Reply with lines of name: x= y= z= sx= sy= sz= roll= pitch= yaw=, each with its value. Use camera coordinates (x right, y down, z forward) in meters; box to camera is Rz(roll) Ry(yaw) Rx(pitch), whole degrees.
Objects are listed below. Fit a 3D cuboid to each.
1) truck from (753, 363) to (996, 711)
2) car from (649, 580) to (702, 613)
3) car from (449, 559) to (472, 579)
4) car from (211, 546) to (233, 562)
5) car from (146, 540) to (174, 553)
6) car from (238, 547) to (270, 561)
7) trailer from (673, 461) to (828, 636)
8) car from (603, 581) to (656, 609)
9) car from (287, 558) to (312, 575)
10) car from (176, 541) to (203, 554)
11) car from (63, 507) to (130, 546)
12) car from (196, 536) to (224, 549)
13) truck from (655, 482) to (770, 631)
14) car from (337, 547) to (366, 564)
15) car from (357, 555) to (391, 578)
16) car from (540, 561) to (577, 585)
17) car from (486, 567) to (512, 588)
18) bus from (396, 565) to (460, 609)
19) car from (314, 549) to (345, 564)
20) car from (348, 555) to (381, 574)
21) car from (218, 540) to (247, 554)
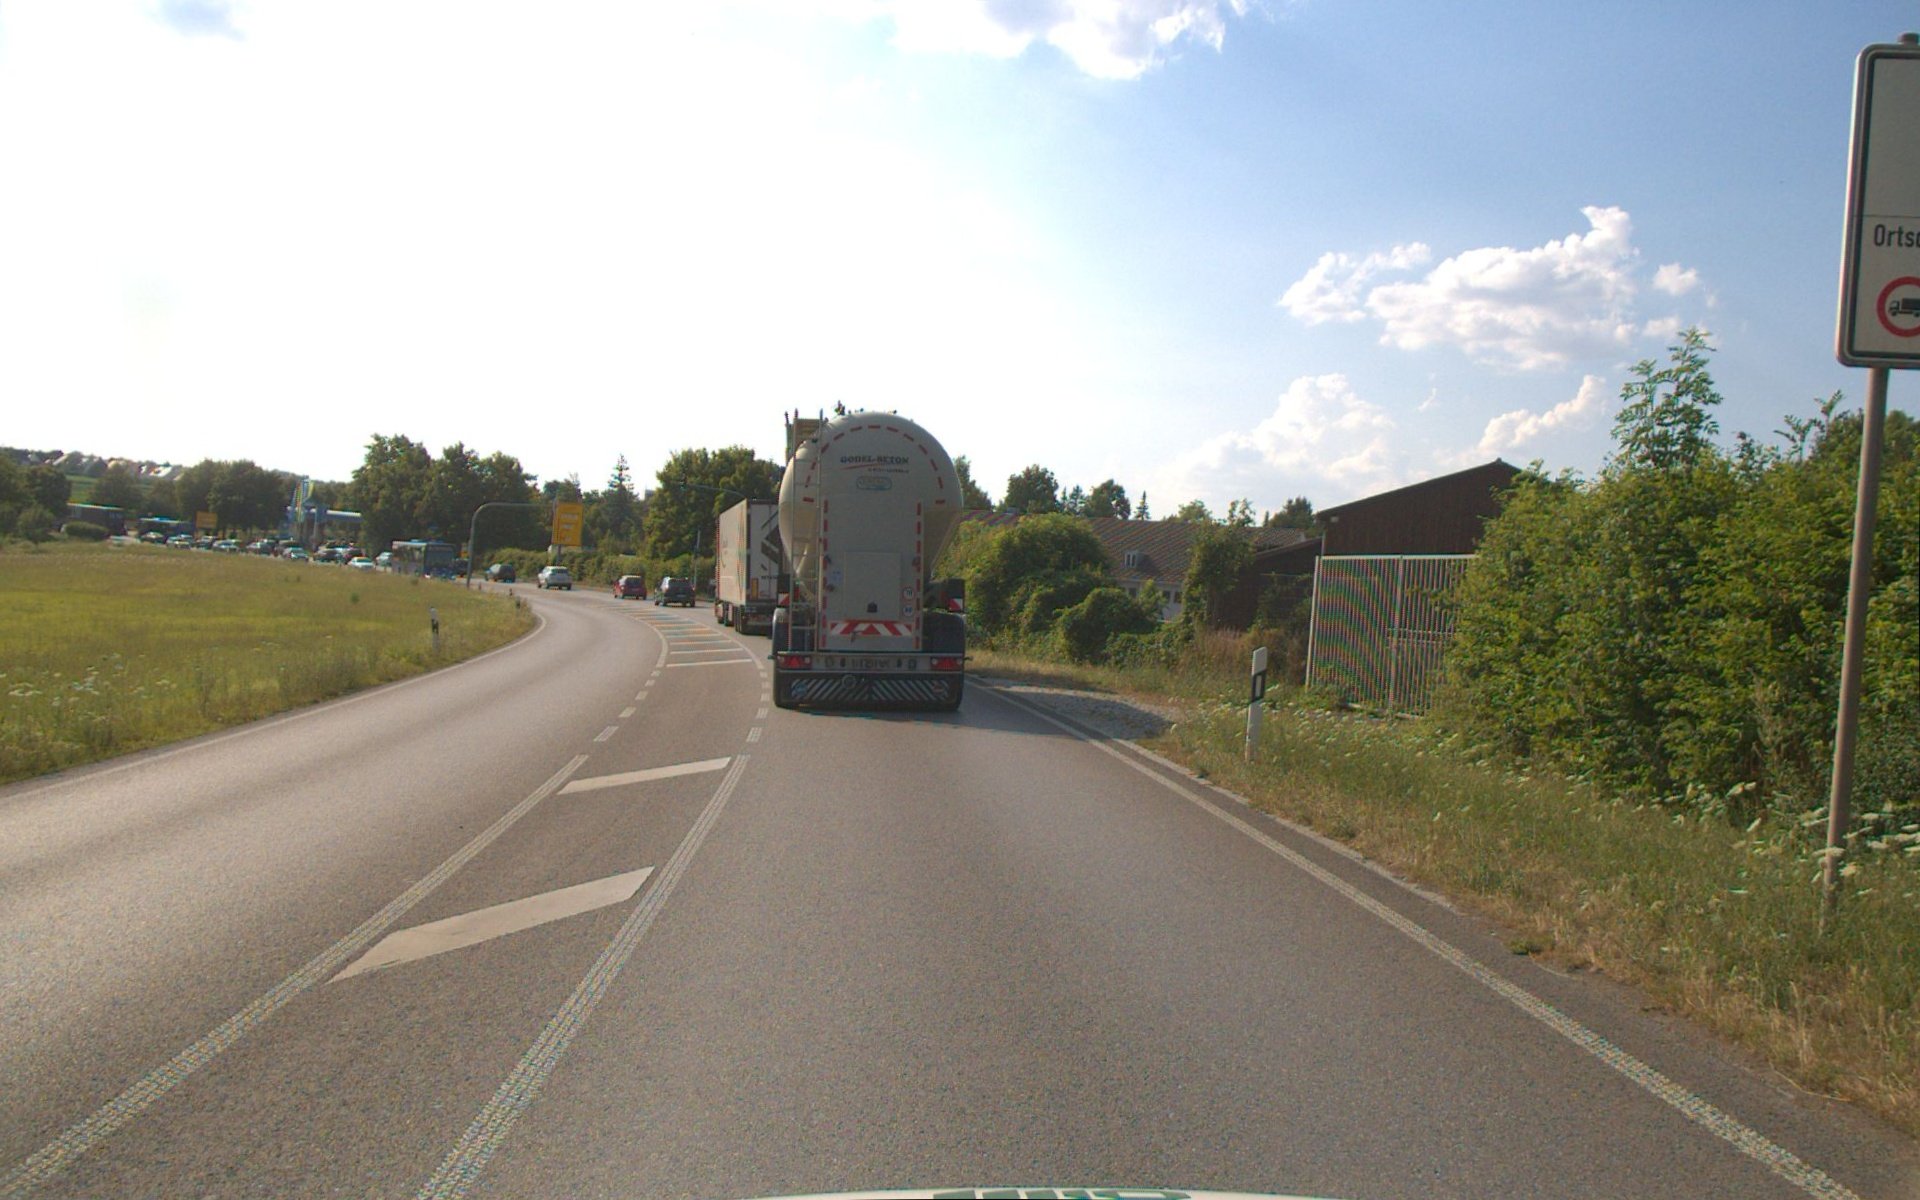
truck: x=-1.663 y=-0.742 z=26.434 sx=2.918 sy=4.248 sz=11.646 roll=2 pitch=-1 yaw=-6
car: x=-15.500 y=-0.170 z=89.944 sx=1.966 sy=1.685 sz=3.972 roll=2 pitch=-1 yaw=-23
car: x=-45.863 y=-2.842 z=151.921 sx=1.499 sy=1.685 sz=3.843 roll=2 pitch=-1 yaw=-24
car: x=-84.611 y=-5.267 z=189.595 sx=1.823 sy=1.685 sz=3.957 roll=2 pitch=-1 yaw=-31
car: x=-106.308 y=-7.127 z=219.880 sx=3.926 sy=1.627 sz=1.878 roll=3 pitch=1 yaw=40
car: x=-85.687 y=-5.601 z=200.818 sx=3.929 sy=1.627 sz=2.079 roll=3 pitch=1 yaw=42
trailer: x=-6.901 y=-1.464 z=52.886 sx=2.918 sy=4.967 sz=10.235 roll=2 pitch=-1 yaw=-18
car: x=-21.158 y=-0.296 z=105.852 sx=2.271 sy=1.685 sz=4.378 roll=2 pitch=-1 yaw=-26
car: x=-69.164 y=-3.472 z=173.112 sx=1.823 sy=1.685 sz=3.957 roll=2 pitch=-1 yaw=-31
car: x=-100.681 y=-6.880 z=216.014 sx=3.931 sy=1.627 sz=1.876 roll=3 pitch=1 yaw=43
car: x=-120.567 y=-10.241 z=230.802 sx=13.002 sy=5.147 sz=3.533 roll=3 pitch=1 yaw=41
car: x=-95.369 y=-7.314 z=210.323 sx=3.929 sy=1.627 sz=1.877 roll=3 pitch=1 yaw=42
truck: x=-8.961 y=-1.465 z=59.278 sx=2.917 sy=4.972 sz=6.397 roll=2 pitch=-1 yaw=-18
car: x=-65.570 y=-4.808 z=178.286 sx=2.066 sy=1.627 sz=3.955 roll=2 pitch=1 yaw=-33
car: x=-47.475 y=-2.694 z=133.956 sx=1.823 sy=1.685 sz=3.957 roll=2 pitch=-1 yaw=-31
car: x=-30.008 y=-2.009 z=123.503 sx=1.819 sy=1.685 sz=3.966 roll=2 pitch=-1 yaw=-26
car: x=-38.959 y=-1.875 z=139.768 sx=1.499 sy=1.685 sz=3.843 roll=2 pitch=-1 yaw=-24
bus: x=-42.473 y=-1.021 z=131.793 sx=2.762 sy=3.237 sz=12.017 roll=2 pitch=-1 yaw=-27
car: x=-70.533 y=-4.874 z=184.982 sx=2.071 sy=1.627 sz=3.945 roll=2 pitch=1 yaw=-38
car: x=-54.695 y=-3.243 z=151.847 sx=1.827 sy=1.685 sz=3.948 roll=2 pitch=-1 yaw=-37
car: x=-90.553 y=-6.607 z=205.867 sx=3.929 sy=1.627 sz=1.877 roll=3 pitch=1 yaw=42
